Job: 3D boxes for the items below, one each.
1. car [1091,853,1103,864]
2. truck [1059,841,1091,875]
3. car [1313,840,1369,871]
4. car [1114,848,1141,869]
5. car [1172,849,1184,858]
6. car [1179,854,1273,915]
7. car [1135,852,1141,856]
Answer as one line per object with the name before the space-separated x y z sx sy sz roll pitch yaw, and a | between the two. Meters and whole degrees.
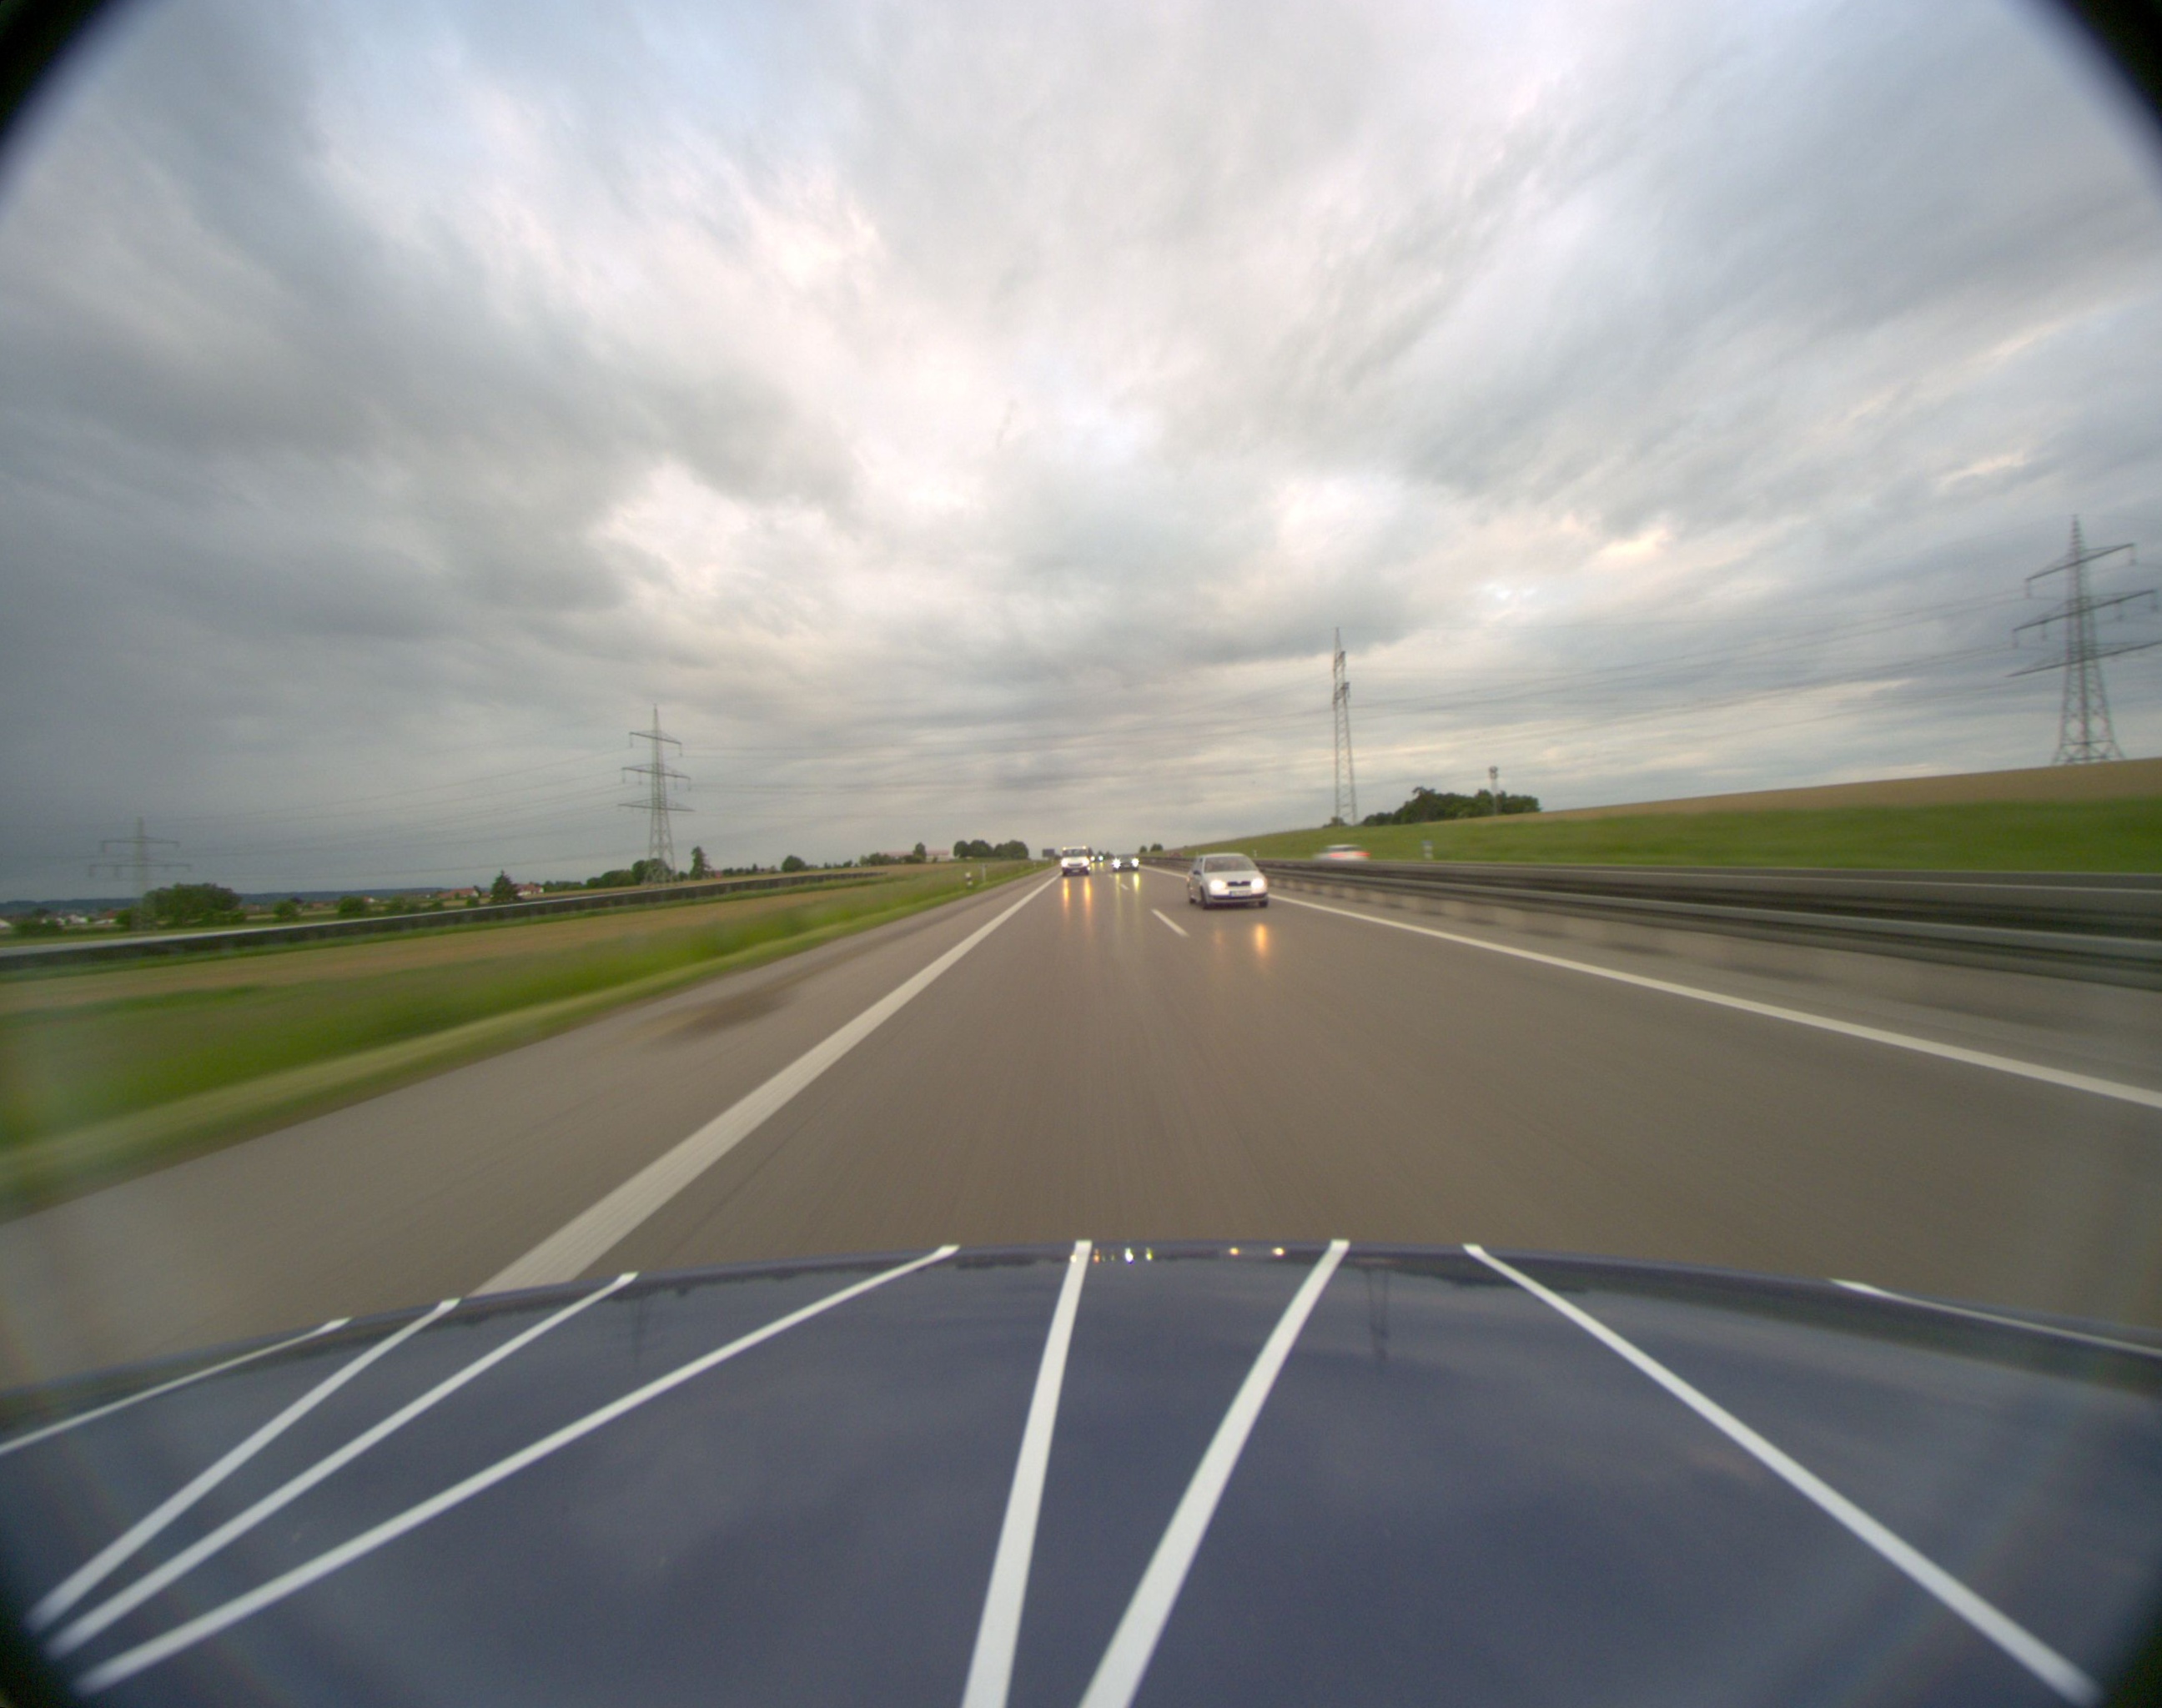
car | 2.933 0.816 140.835 1.999 2.002 4.460 -4 0 -1
truck | -0.439 0.314 59.821 2.177 2.346 7.696 -4 0 0
car | 15.943 0.107 46.833 1.795 1.689 4.590 -4 0 1
car | 3.815 0.368 62.537 1.951 1.620 4.536 -3 0 1
car | 17.869 -0.080 140.343 1.678 1.352 4.011 -6 0 0
car | 3.796 0.731 20.590 1.592 1.381 4.601 -2 0 -1
car | 19.393 -0.013 257.343 1.532 1.425 4.434 -4 0 0
